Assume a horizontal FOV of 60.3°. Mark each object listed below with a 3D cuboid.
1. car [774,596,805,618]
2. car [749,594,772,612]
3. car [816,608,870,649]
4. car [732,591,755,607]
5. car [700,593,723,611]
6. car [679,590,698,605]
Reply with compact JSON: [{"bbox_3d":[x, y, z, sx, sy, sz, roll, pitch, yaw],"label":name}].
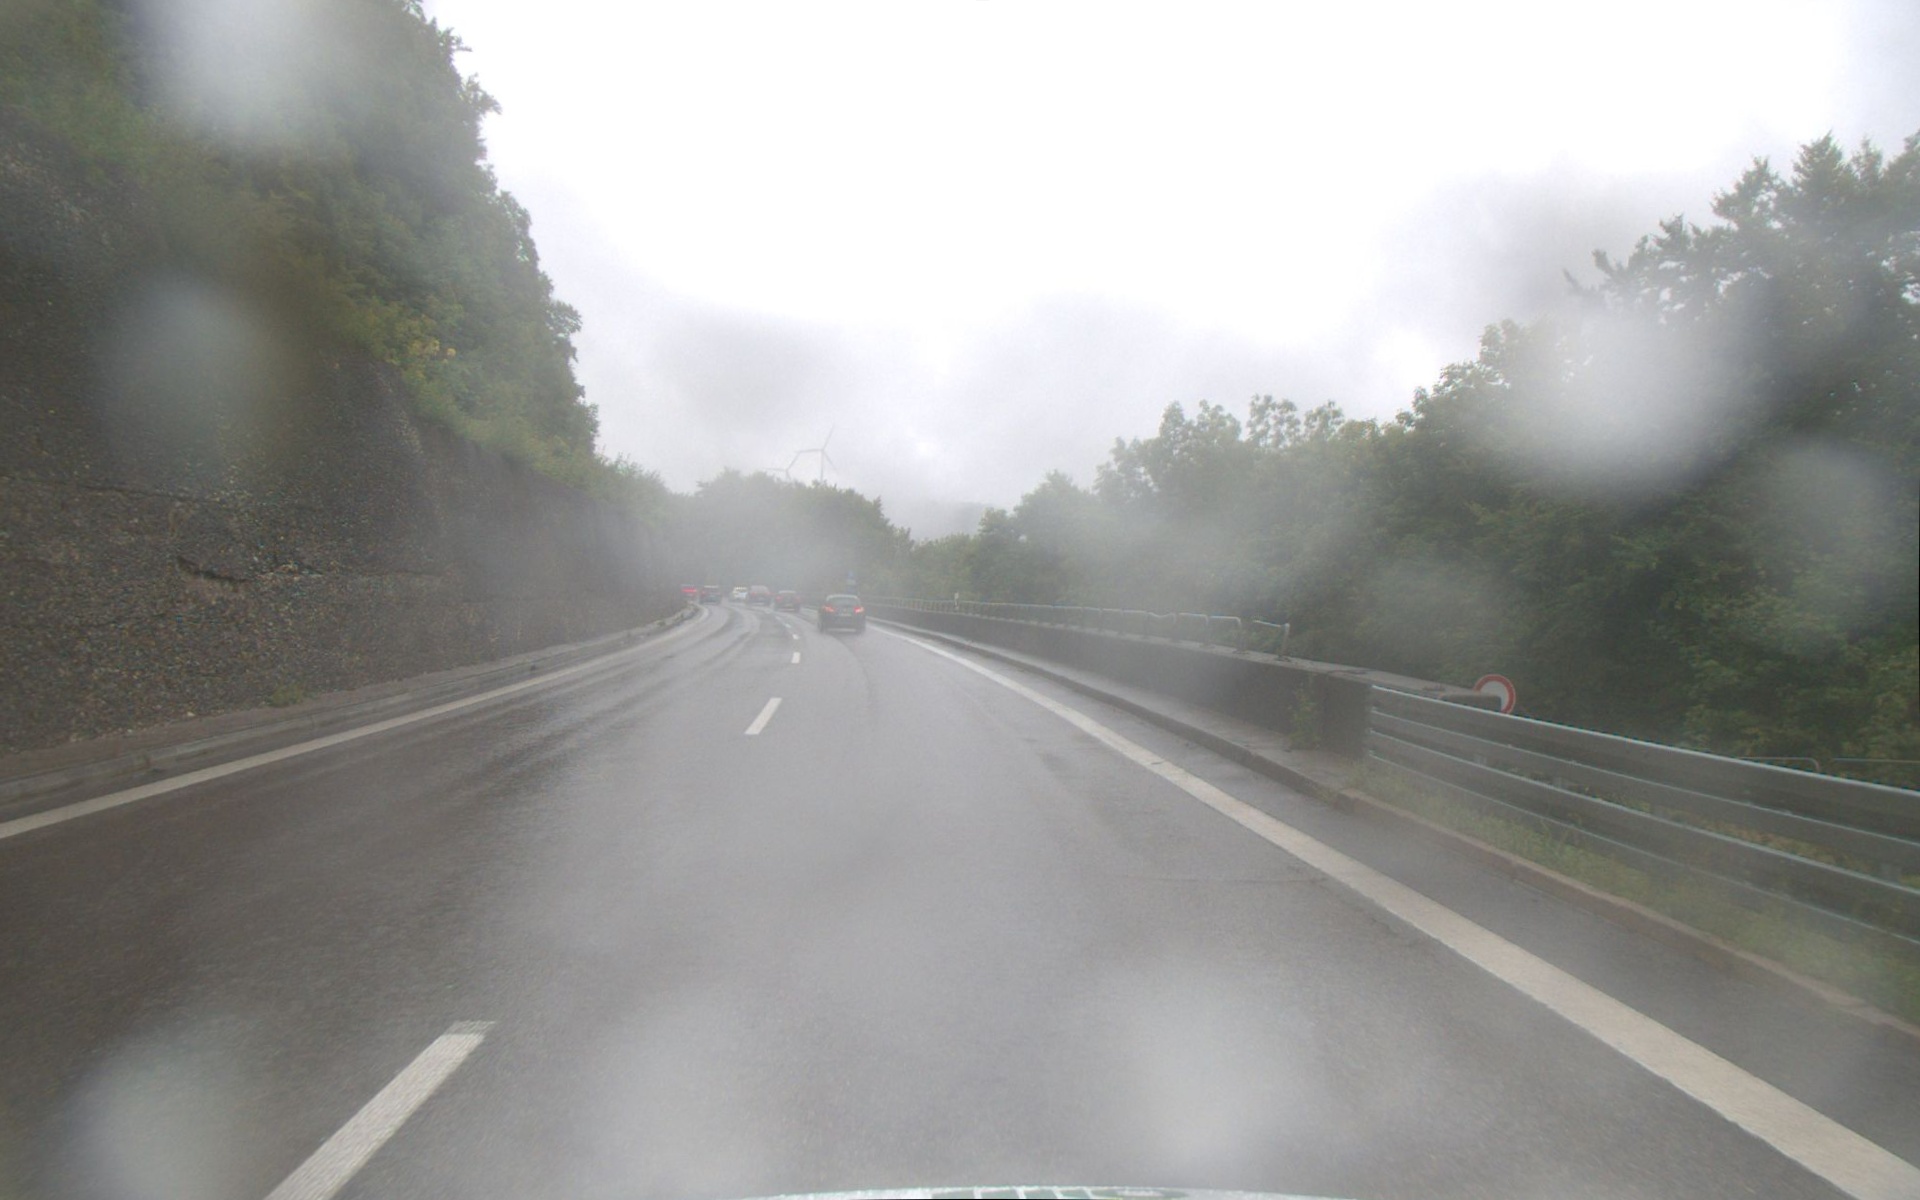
[{"bbox_3d":[-12.270,0.495,119.007,1.869,1.525,3.990,1,0,-10],"label":"car"},{"bbox_3d":[-17.802,0.262,147.536,1.868,1.525,3.992,1,0,-8],"label":"car"},{"bbox_3d":[-4.663,1.105,65.560,1.868,1.525,3.994,1,0,-7],"label":"car"},{"bbox_3d":[-21.762,-0.082,166.209,1.870,1.525,3.987,1,0,-12],"label":"car"},{"bbox_3d":[-21.758,0.189,144.857,1.868,1.525,3.992,1,0,-8],"label":"car"},{"bbox_3d":[-28.345,-0.284,172.509,1.869,1.525,3.990,1,0,-10],"label":"car"}]
